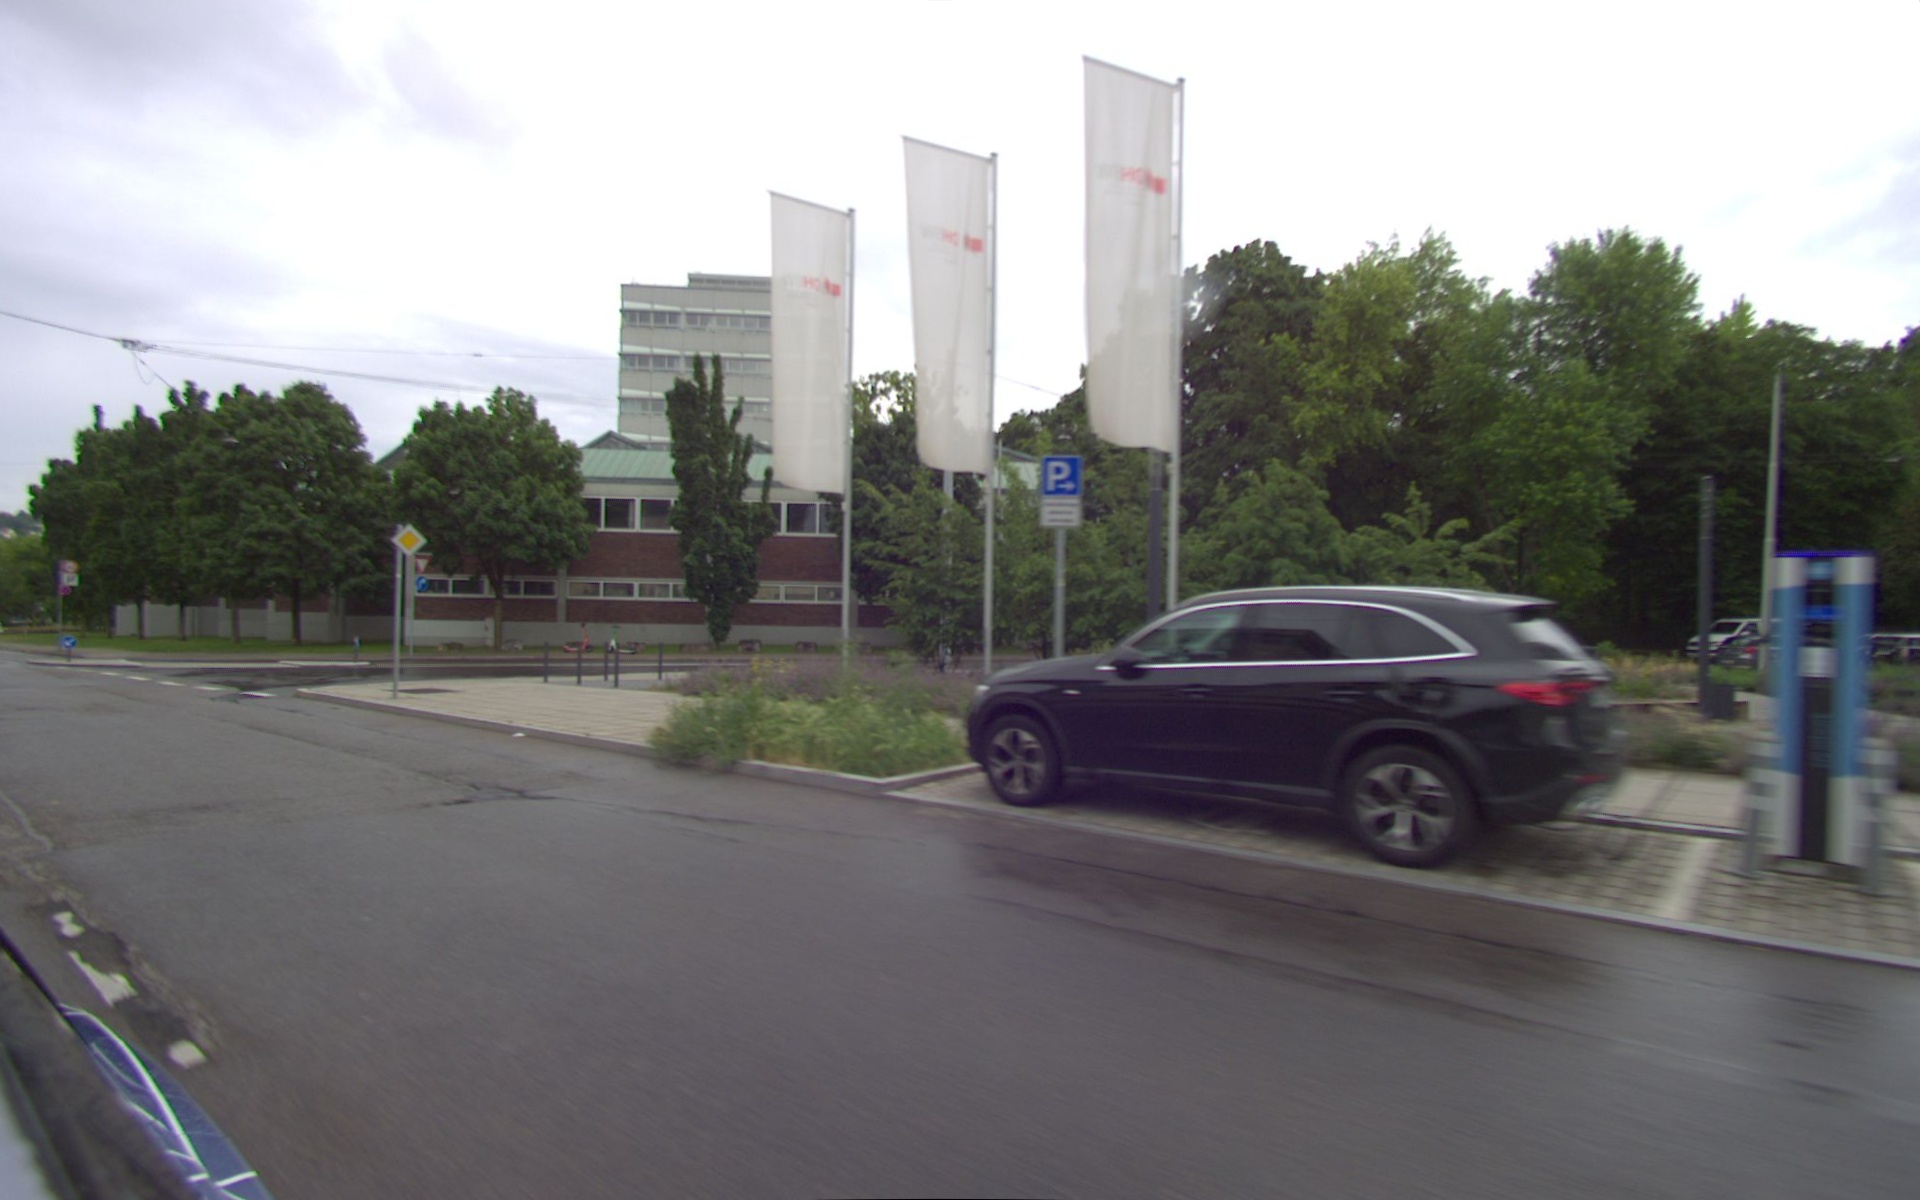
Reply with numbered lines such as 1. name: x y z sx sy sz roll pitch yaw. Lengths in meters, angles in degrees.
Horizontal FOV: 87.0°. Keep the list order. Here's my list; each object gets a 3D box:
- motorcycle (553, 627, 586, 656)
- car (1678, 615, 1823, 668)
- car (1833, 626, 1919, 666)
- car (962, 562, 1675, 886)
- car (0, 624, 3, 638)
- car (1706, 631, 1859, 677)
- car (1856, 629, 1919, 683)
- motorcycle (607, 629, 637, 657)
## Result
1. motorcycle: -16.361 1.721 42.418 1.207 1.194 0.414 0 0 -12
2. car: 33.848 1.744 43.382 4.761 2.112 2.173 0 0 -8
3. car: 40.474 1.973 43.675 4.211 1.619 1.934 0 0 -8
4. car: 2.301 0.641 7.270 4.488 1.630 1.830 -1 0 41
5. car: -108.999 3.480 112.181 4.472 1.622 1.865 0 0 7
6. car: 27.768 1.822 34.248 3.813 1.461 1.669 0 0 -1
7. car: 33.699 1.910 34.844 3.943 1.752 1.921 0 0 -1
8. motorcycle: -14.246 1.816 42.626 1.151 1.133 0.414 1 -1 -12
